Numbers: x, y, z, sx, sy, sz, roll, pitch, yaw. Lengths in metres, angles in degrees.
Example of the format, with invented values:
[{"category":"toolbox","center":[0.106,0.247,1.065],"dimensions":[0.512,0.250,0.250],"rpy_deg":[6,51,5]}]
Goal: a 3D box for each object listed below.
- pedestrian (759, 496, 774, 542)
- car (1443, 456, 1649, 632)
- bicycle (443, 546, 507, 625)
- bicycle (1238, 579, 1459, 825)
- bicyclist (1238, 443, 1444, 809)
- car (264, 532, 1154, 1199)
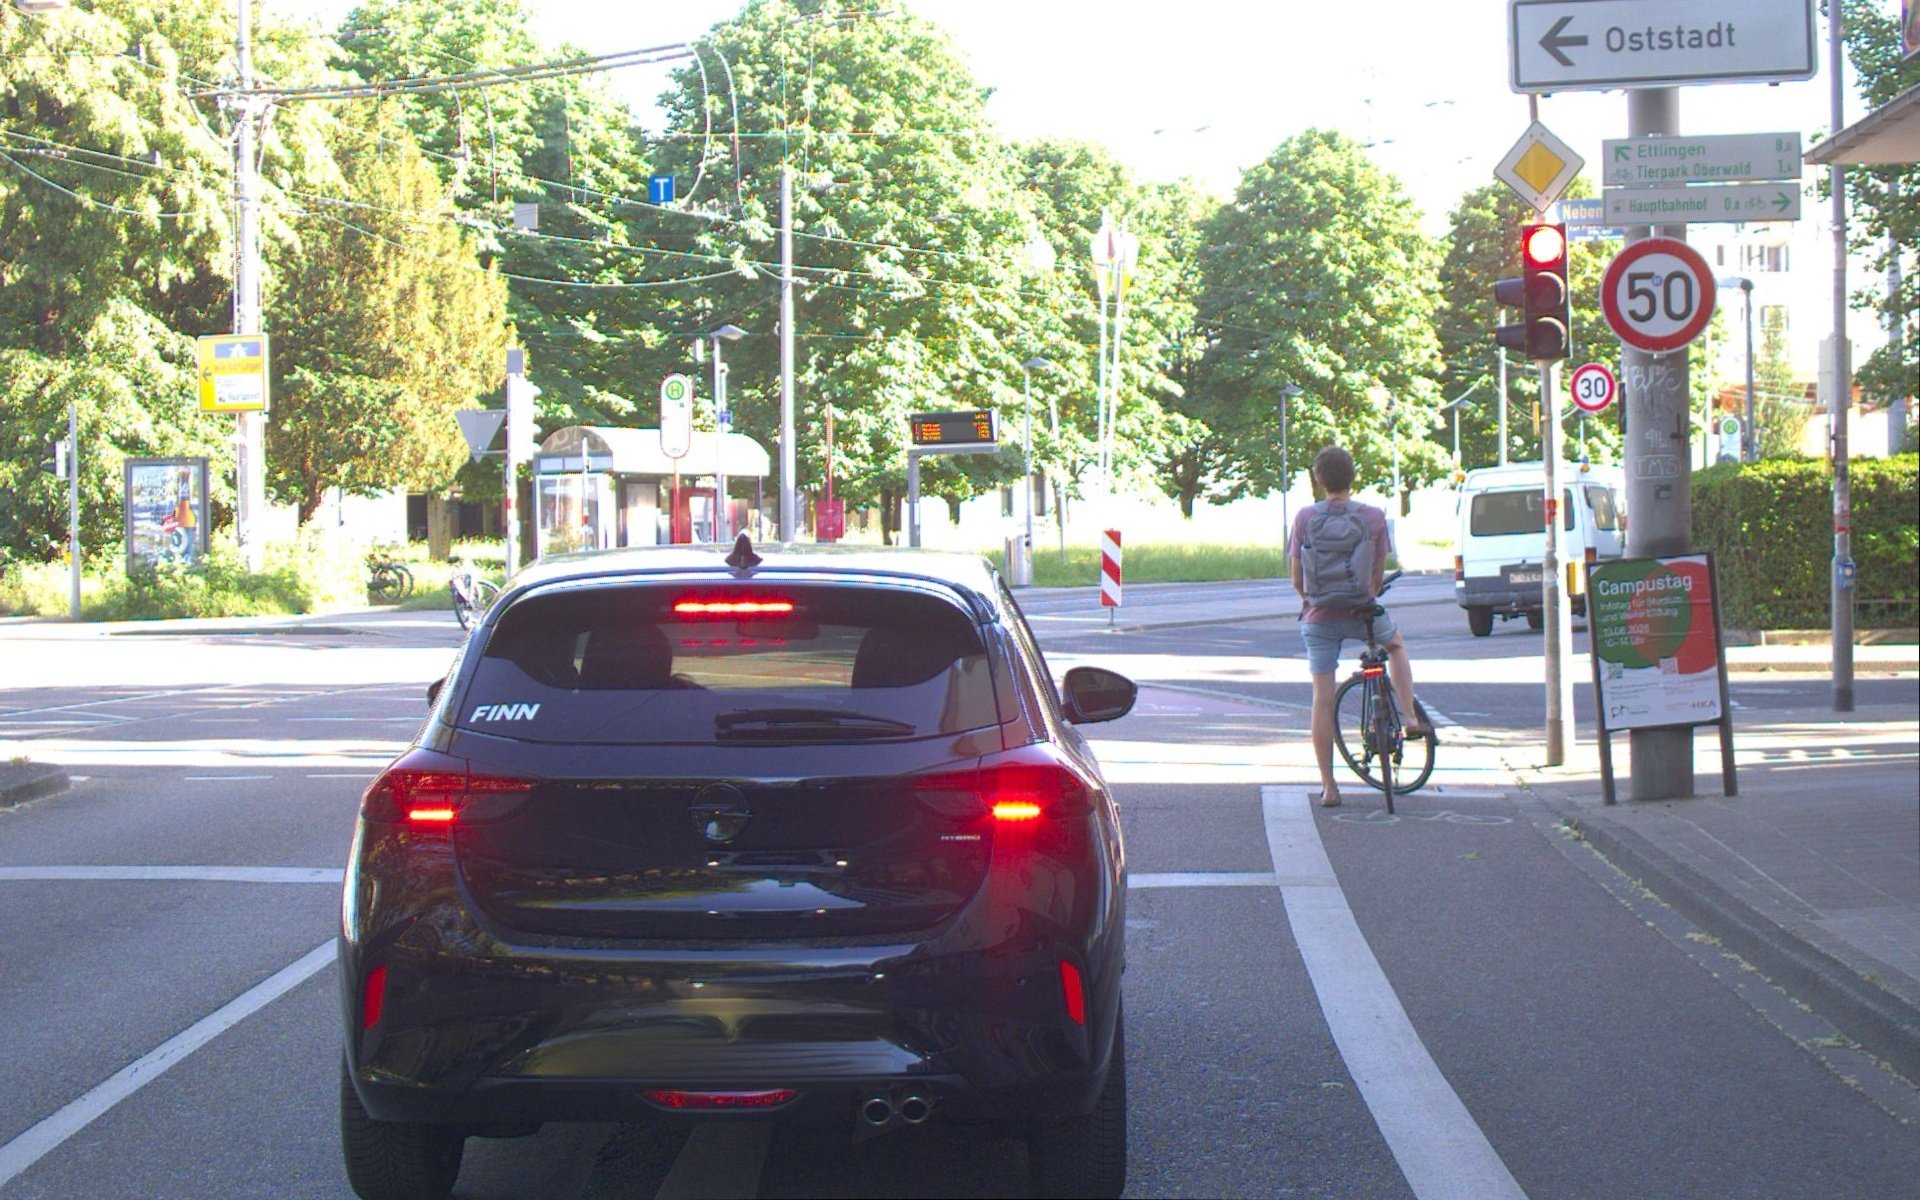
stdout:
[{"category":"pedestrian","center":[-6.058,-2.532,107.591],"dimensions":[0.412,1.408,0.436],"rpy_deg":[1,0,-3]},{"category":"car","center":[7.977,-0.775,46.461],"dimensions":[2.065,2.241,4.883],"rpy_deg":[0,1,18]},{"category":"bicycle","center":[-6.548,-0.208,46.481],"dimensions":[0.605,1.028,1.982],"rpy_deg":[-1,1,-1]},{"category":"bicycle","center":[1.990,0.491,17.912],"dimensions":[0.860,1.149,2.172],"rpy_deg":[-1,1,-1]},{"category":"bicyclist","center":[1.974,0.124,17.901],"dimensions":[0.941,1.845,0.864],"rpy_deg":[-1,1,-1]},{"category":"car","center":[-0.505,0.549,8.793],"dimensions":[1.727,1.424,4.187],"rpy_deg":[0,1,0]}]
